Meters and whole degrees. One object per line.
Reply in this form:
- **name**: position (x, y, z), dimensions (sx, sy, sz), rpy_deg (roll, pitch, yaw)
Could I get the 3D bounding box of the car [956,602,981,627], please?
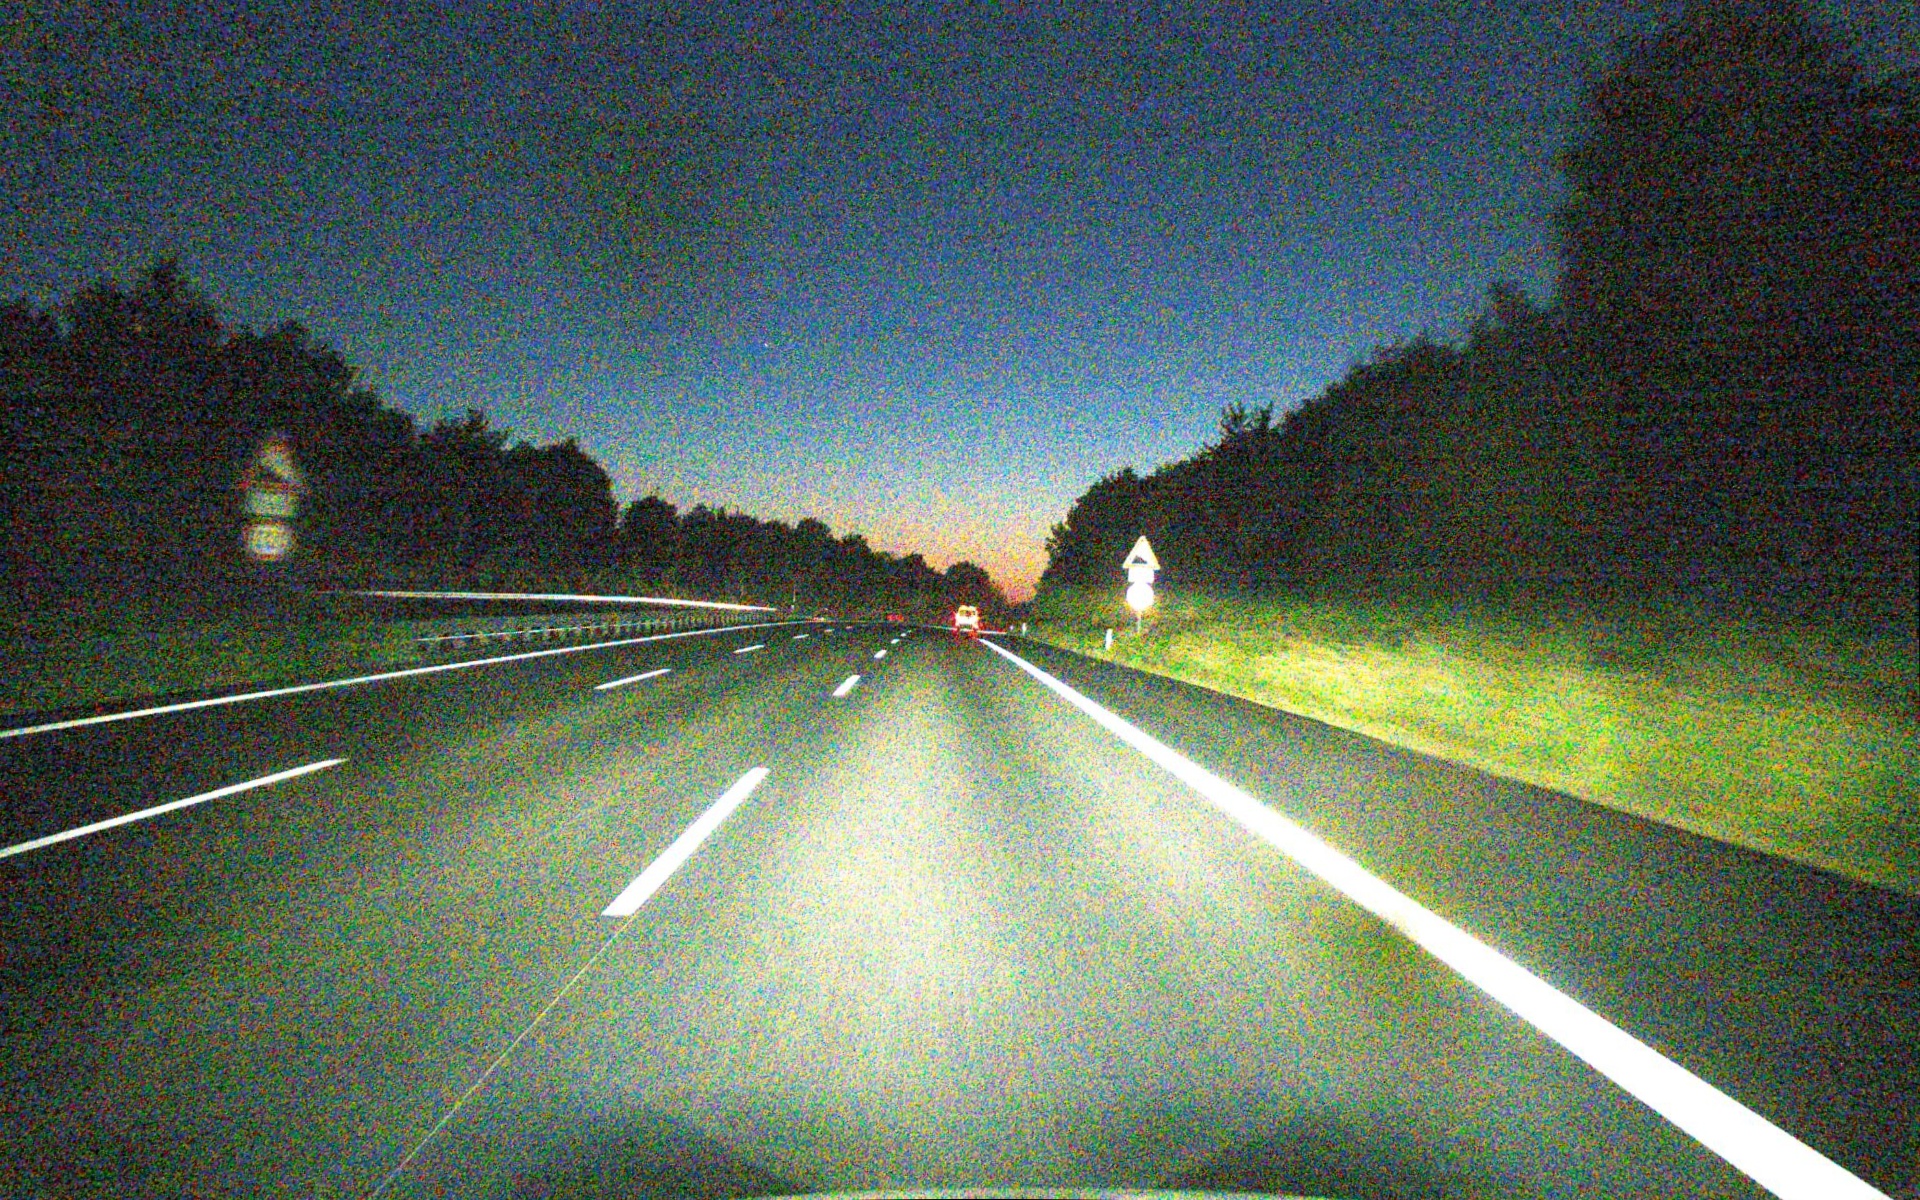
- **car**: position (0.932, 1.499, 173.586), dimensions (2.475, 2.598, 6.052), rpy_deg (1, 0, 1)
